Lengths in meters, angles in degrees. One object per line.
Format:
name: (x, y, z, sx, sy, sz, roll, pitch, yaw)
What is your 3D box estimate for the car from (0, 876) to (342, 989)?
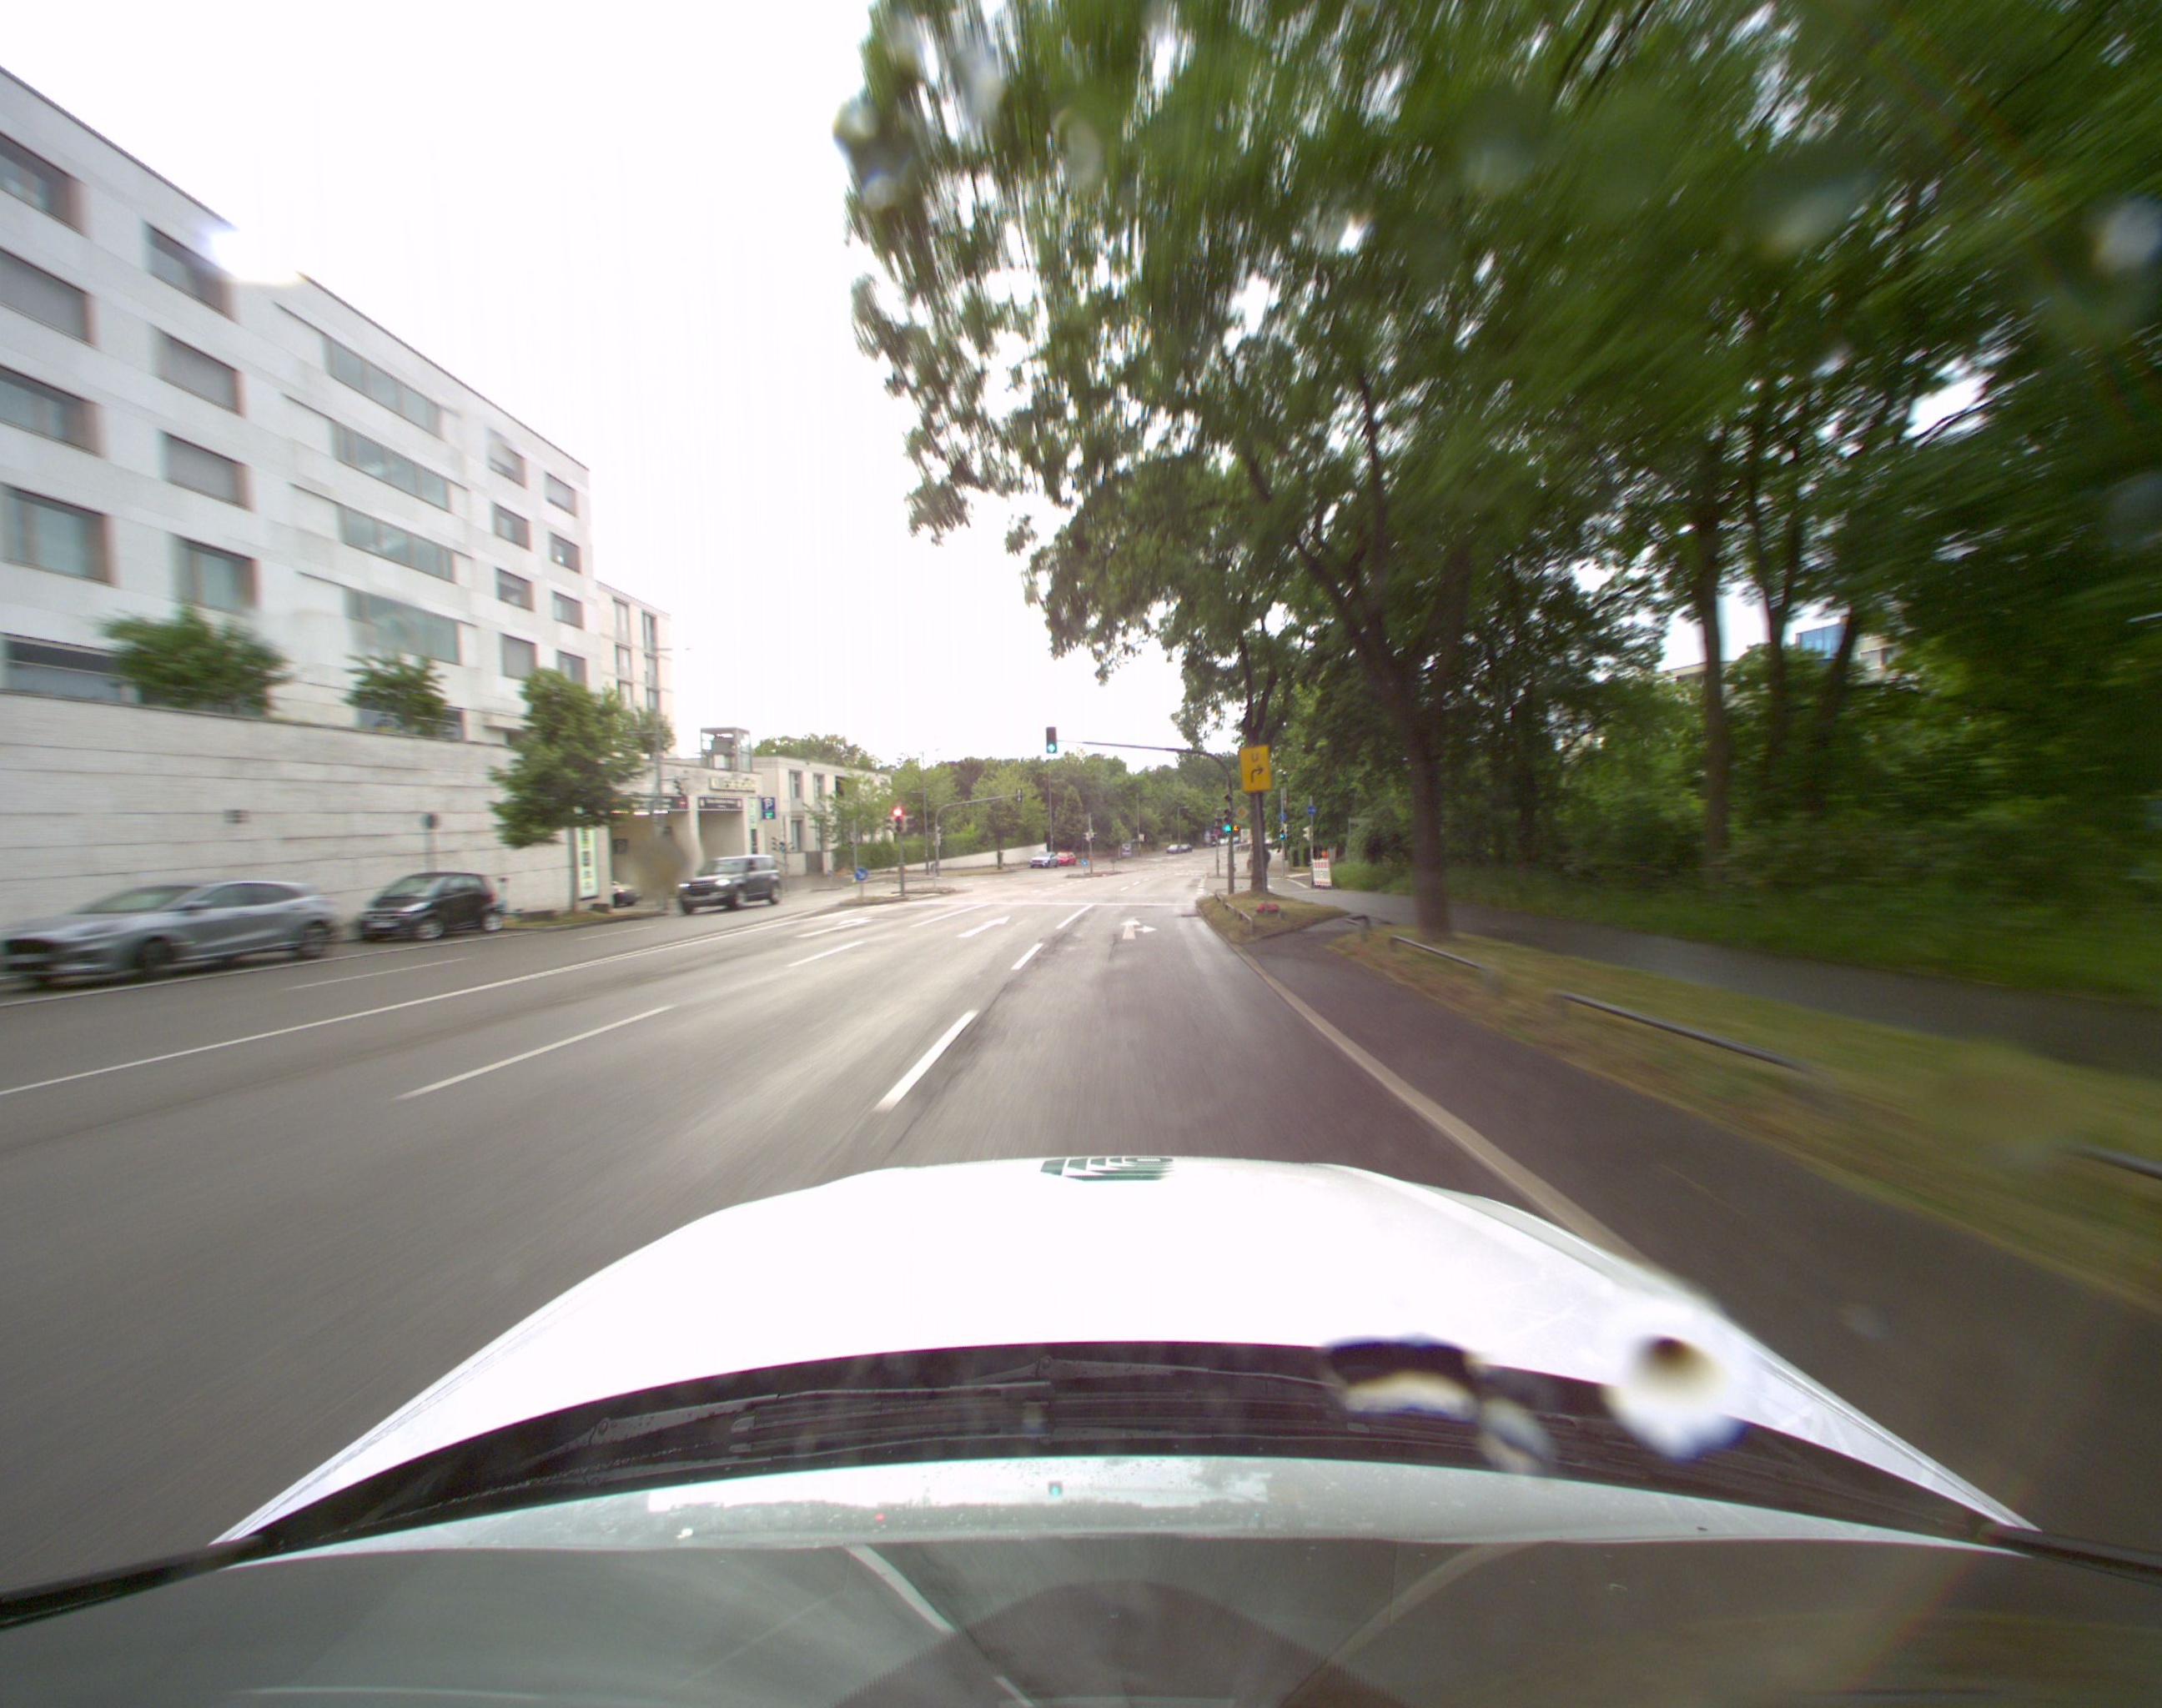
car: (-15.041, 1.193, 13.749, 1.673, 1.515, 3.710, -1, 0, 0)

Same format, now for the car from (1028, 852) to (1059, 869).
car: (-3.774, 0.642, 83.475, 1.838, 1.639, 4.112, 2, 1, 17)

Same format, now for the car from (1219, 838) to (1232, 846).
car: (32.773, -2.667, 184.974, 1.939, 1.485, 4.024, 2, 4, 24)

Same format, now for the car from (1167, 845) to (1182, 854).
car: (16.422, -0.764, 142.794, 1.699, 1.460, 3.769, 0, 0, 19)

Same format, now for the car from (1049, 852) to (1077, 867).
car: (-1.966, 0.565, 90.496, 1.860, 1.575, 4.241, 1, 1, 16)

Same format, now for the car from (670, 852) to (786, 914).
car: (-12.248, 0.940, 28.610, 1.914, 1.857, 4.506, -5, 0, 0)

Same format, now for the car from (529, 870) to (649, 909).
car: (-23.455, 1.676, 38.943, 4.488, 1.672, 1.927, -2, 0, -1)

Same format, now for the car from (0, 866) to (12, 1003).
car: (-15.037, 1.070, 8.429, 1.851, 1.781, 4.595, -1, 0, 0)

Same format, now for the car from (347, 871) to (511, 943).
car: (-15.535, 1.207, 19.586, 1.502, 1.515, 2.981, 0, 0, 1)

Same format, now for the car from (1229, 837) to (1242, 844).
car: (36.566, -3.215, 192.721, 1.939, 1.485, 4.024, 2, 4, 24)
